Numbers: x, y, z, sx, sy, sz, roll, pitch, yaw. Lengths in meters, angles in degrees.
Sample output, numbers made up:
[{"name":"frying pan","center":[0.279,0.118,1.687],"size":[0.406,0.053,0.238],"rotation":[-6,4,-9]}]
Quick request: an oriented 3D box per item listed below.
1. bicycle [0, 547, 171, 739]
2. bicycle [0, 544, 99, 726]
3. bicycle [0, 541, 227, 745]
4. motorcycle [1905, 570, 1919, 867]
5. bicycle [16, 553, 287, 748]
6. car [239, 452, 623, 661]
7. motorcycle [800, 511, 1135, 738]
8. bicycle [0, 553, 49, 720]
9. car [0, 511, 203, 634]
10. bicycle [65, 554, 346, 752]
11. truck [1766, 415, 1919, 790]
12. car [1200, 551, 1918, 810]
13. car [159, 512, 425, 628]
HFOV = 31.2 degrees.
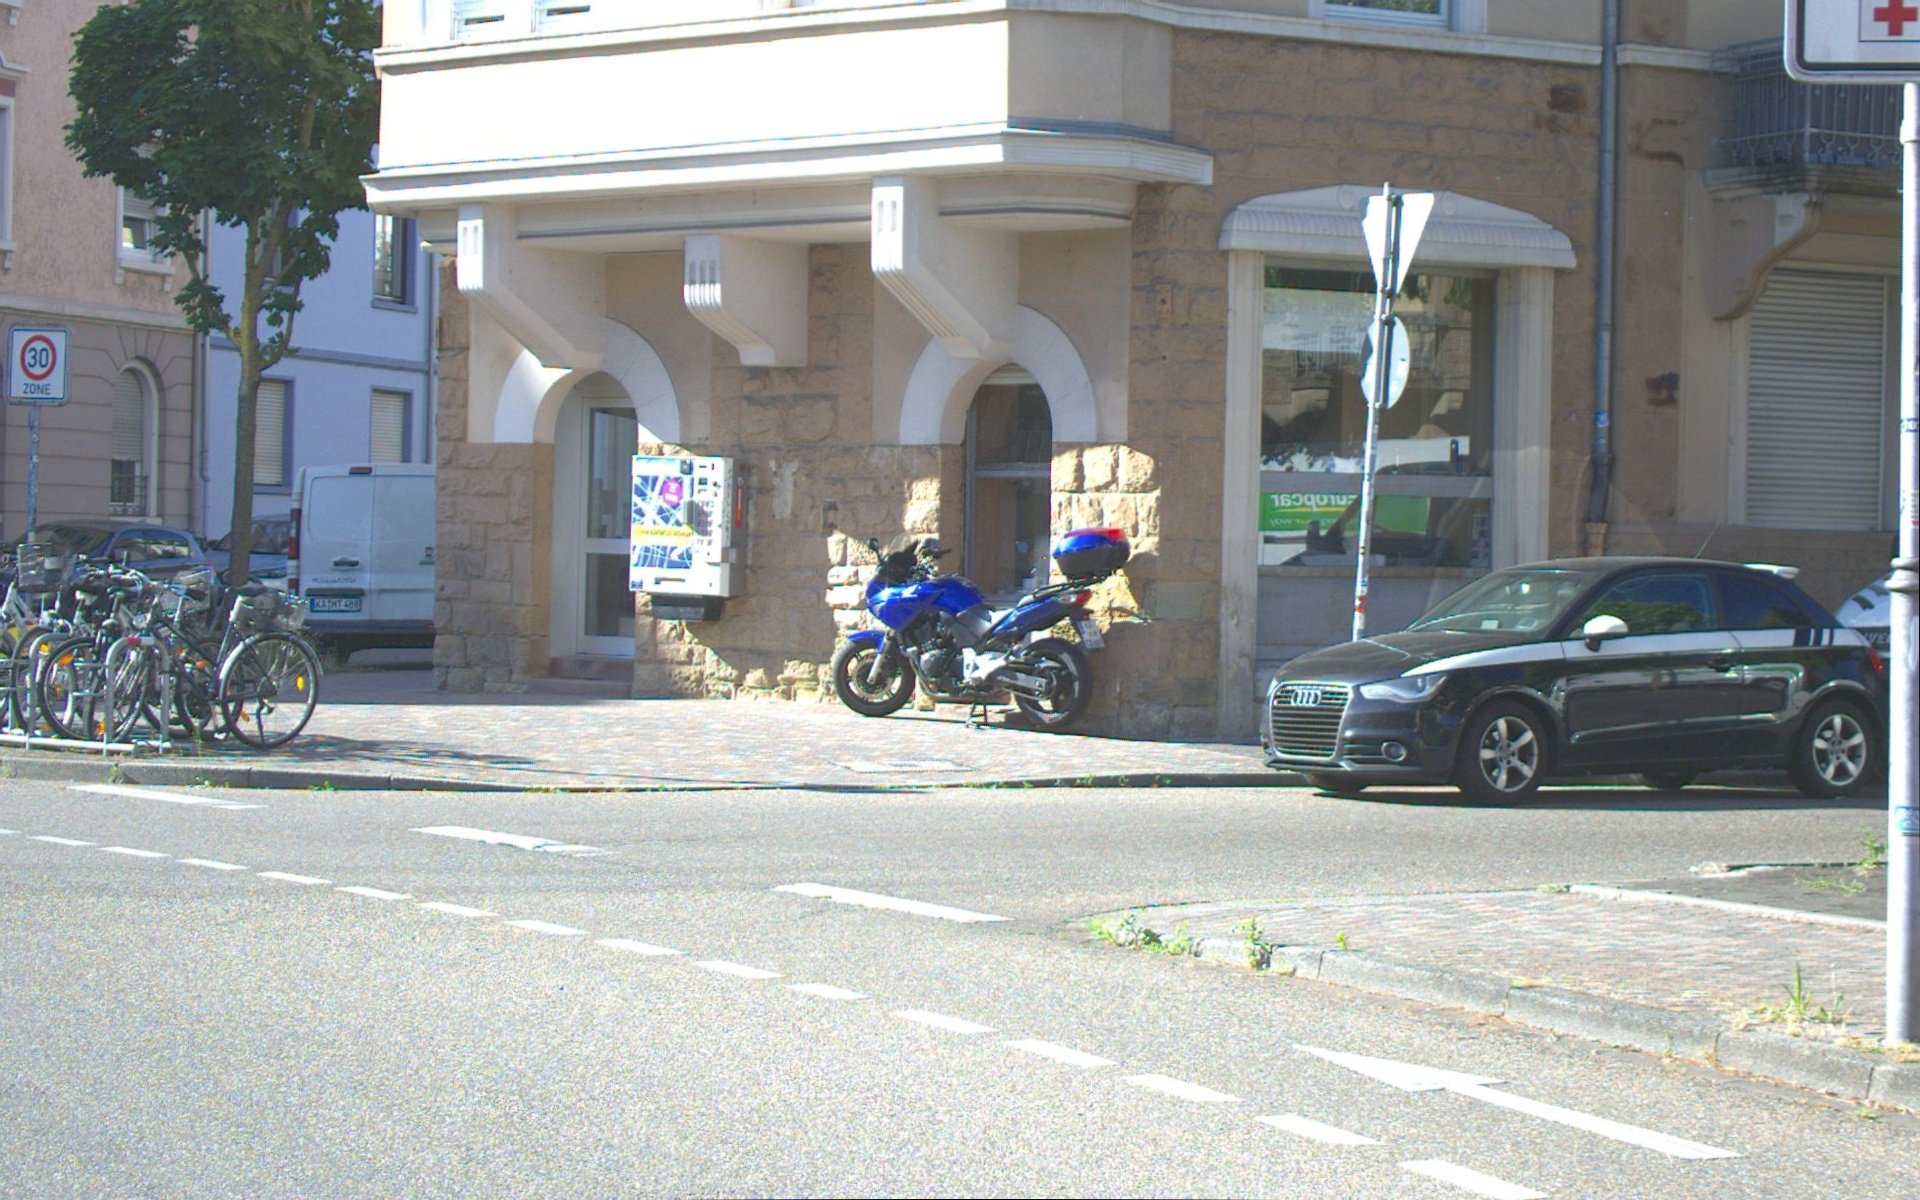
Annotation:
[{"name":"bicycle","center":[-5.713,0.252,21.159],"size":[0.616,1.141,1.693],"rotation":[1,1,34]},{"name":"bicycle","center":[-6.366,0.214,21.764],"size":[0.637,1.141,1.692],"rotation":[2,1,42]},{"name":"bicycle","center":[-5.241,0.242,20.865],"size":[0.451,1.187,1.693],"rotation":[1,1,34]},{"name":"motorcycle","center":[4.612,0.544,14.018],"size":[0.536,1.266,1.712],"rotation":[0,3,-20]},{"name":"bicycle","center":[-4.834,0.283,20.649],"size":[0.483,1.119,1.693],"rotation":[1,1,34]},{"name":"car","center":[-5.187,-0.437,34.395],"size":[2.136,1.902,4.558],"rotation":[2,1,14]},{"name":"motorcycle","center":[0.033,0.142,23.639],"size":[2.248,1.406,0.699],"rotation":[4,3,34]},{"name":"bicycle","center":[-6.844,0.235,22.175],"size":[0.535,1.086,1.874],"rotation":[2,1,42]},{"name":"car","center":[-10.901,-0.351,41.516],"size":[1.698,1.407,3.659],"rotation":[2,1,21]},{"name":"bicycle","center":[-4.455,0.294,20.400],"size":[0.483,1.119,1.715],"rotation":[1,1,37]},{"name":"truck","center":[8.688,0.039,22.701],"size":[6.598,2.284,2.140],"rotation":[1,0,-25]},{"name":"car","center":[3.508,0.436,20.018],"size":[3.909,1.385,1.688],"rotation":[1,0,-29]},{"name":"car","center":[-9.077,-0.417,47.014],"size":[1.698,1.481,3.998],"rotation":[2,1,21]}]
